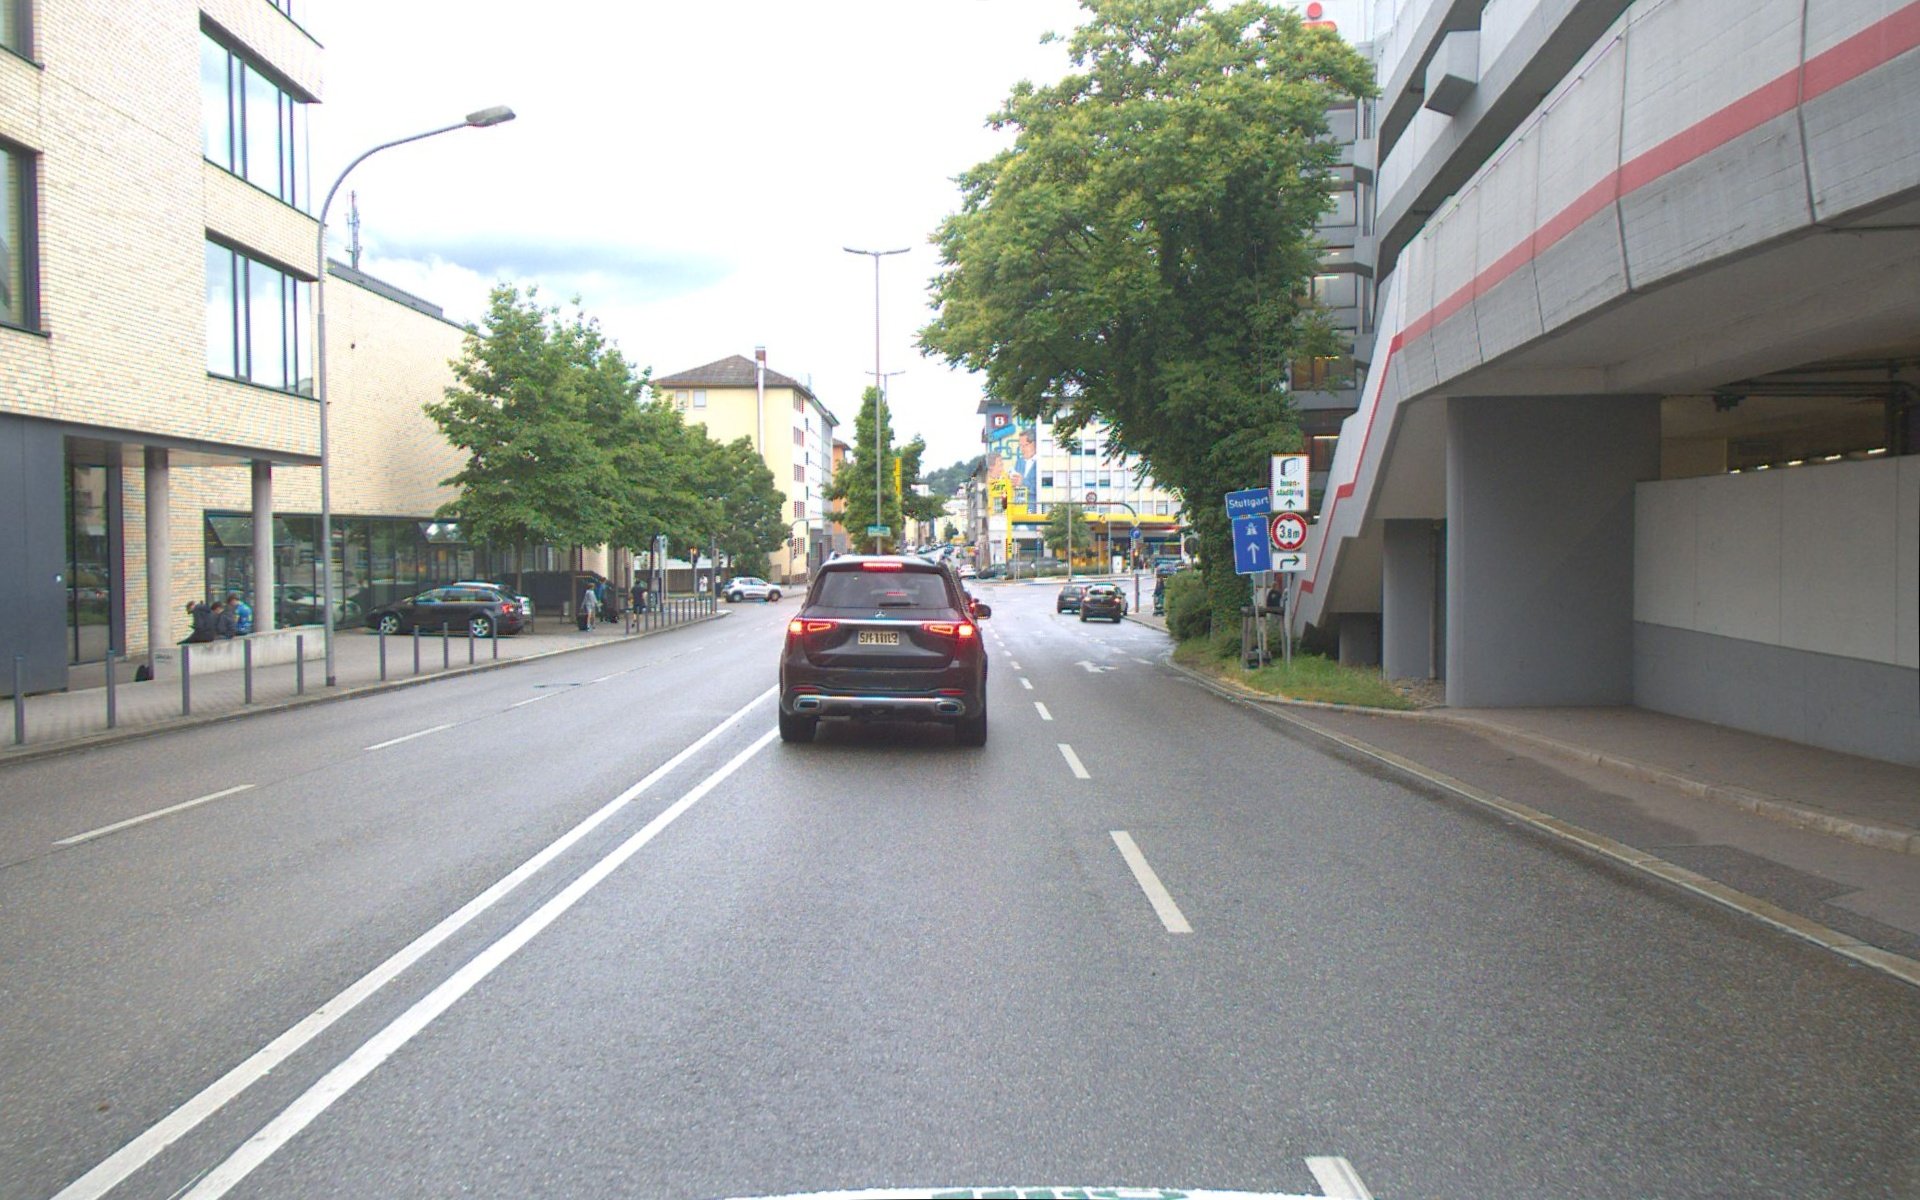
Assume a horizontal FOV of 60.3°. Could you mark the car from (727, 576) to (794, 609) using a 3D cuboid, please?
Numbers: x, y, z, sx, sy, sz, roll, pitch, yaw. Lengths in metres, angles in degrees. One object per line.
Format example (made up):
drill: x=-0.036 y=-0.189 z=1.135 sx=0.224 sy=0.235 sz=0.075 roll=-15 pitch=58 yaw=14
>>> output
car: x=-12.129 y=-0.457 z=100.634 sx=3.917 sy=1.976 sz=1.994 roll=0 pitch=0 yaw=-13

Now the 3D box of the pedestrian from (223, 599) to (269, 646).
pedestrian: x=-14.028 y=0.434 z=32.507 sx=0.667 sy=0.901 sz=0.524 roll=1 pitch=0 yaw=-1

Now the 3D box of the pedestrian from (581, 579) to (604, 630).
pedestrian: x=-12.768 y=0.159 z=57.440 sx=0.662 sy=1.727 sz=0.479 roll=2 pitch=-1 yaw=-1

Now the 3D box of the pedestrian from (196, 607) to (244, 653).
pedestrian: x=-13.999 y=0.569 z=31.286 sx=0.574 sy=0.859 sz=0.727 roll=0 pitch=0 yaw=0

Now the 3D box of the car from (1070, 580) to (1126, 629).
car: x=5.985 y=0.230 z=71.893 sx=1.953 sy=2.049 sz=3.998 roll=1 pitch=-1 yaw=-2

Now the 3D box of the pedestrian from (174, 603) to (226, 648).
pedestrian: x=-13.983 y=0.462 z=30.451 sx=0.585 sy=0.800 sz=0.760 roll=1 pitch=0 yaw=0

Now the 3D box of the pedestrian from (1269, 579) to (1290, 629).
pedestrian: x=10.044 y=0.125 z=51.929 sx=0.569 sy=1.527 sz=0.504 roll=1 pitch=-1 yaw=6

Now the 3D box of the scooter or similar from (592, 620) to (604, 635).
scooter or similar: x=-12.666 y=0.959 z=57.834 sx=0.274 sy=0.509 sz=0.616 roll=1 pitch=0 yaw=0

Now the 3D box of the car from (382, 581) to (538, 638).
car: x=-15.587 y=0.290 z=51.740 sx=4.331 sy=1.601 sz=1.998 roll=1 pitch=2 yaw=-6

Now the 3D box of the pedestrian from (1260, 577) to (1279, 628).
pedestrian: x=9.724 y=0.084 z=51.960 sx=0.539 sy=1.559 sz=0.488 roll=1 pitch=-1 yaw=6

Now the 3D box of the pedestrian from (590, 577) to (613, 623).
pedestrian: x=-13.872 y=-0.007 z=63.985 sx=0.674 sy=1.756 sz=0.754 roll=1 pitch=-1 yaw=-2

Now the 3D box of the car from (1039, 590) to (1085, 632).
car: x=5.161 y=0.552 z=83.982 sx=1.953 sy=2.049 sz=3.998 roll=1 pitch=0 yaw=-2

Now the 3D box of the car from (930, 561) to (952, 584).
car: x=-1.788 y=-2.574 z=155.161 sx=1.953 sy=2.048 sz=3.999 roll=1 pitch=1 yaw=-2

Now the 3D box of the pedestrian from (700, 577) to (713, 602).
pedestrian: x=-15.677 y=-0.640 z=102.345 sx=0.697 sy=1.487 sz=0.598 roll=1 pitch=-1 yaw=-2

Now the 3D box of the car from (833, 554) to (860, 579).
car: x=-9.355 y=-2.723 z=136.347 sx=1.953 sy=1.908 sz=5.140 roll=2 pitch=0 yaw=-2

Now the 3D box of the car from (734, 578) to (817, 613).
car: x=-10.728 y=-0.275 z=96.085 sx=4.714 sy=2.049 sz=1.997 roll=0 pitch=1 yaw=-8

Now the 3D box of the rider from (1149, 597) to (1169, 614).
rider: x=9.295 y=0.250 z=77.343 sx=0.621 sy=0.753 sz=0.692 roll=1 pitch=-1 yaw=40

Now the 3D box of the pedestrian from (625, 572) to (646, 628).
pedestrian: x=-12.021 y=0.007 z=61.255 sx=0.576 sy=2.049 sz=0.749 roll=1 pitch=-1 yaw=-2

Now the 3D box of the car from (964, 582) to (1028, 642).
car: x=1.083 y=0.370 z=50.942 sx=1.669 sy=1.746 sz=3.441 roll=2 pitch=0 yaw=-3

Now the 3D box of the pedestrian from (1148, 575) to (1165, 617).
pedestrian: x=9.205 y=-0.167 z=77.418 sx=0.648 sy=1.951 sz=0.729 roll=1 pitch=-1 yaw=13

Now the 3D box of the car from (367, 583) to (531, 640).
car: x=-15.256 y=0.329 z=49.570 sx=4.382 sy=1.615 sz=1.997 roll=1 pitch=1 yaw=-7

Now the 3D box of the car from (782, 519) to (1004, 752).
car: x=-0.651 y=0.331 z=16.895 sx=1.953 sy=2.049 sz=3.999 roll=1 pitch=0 yaw=-2
